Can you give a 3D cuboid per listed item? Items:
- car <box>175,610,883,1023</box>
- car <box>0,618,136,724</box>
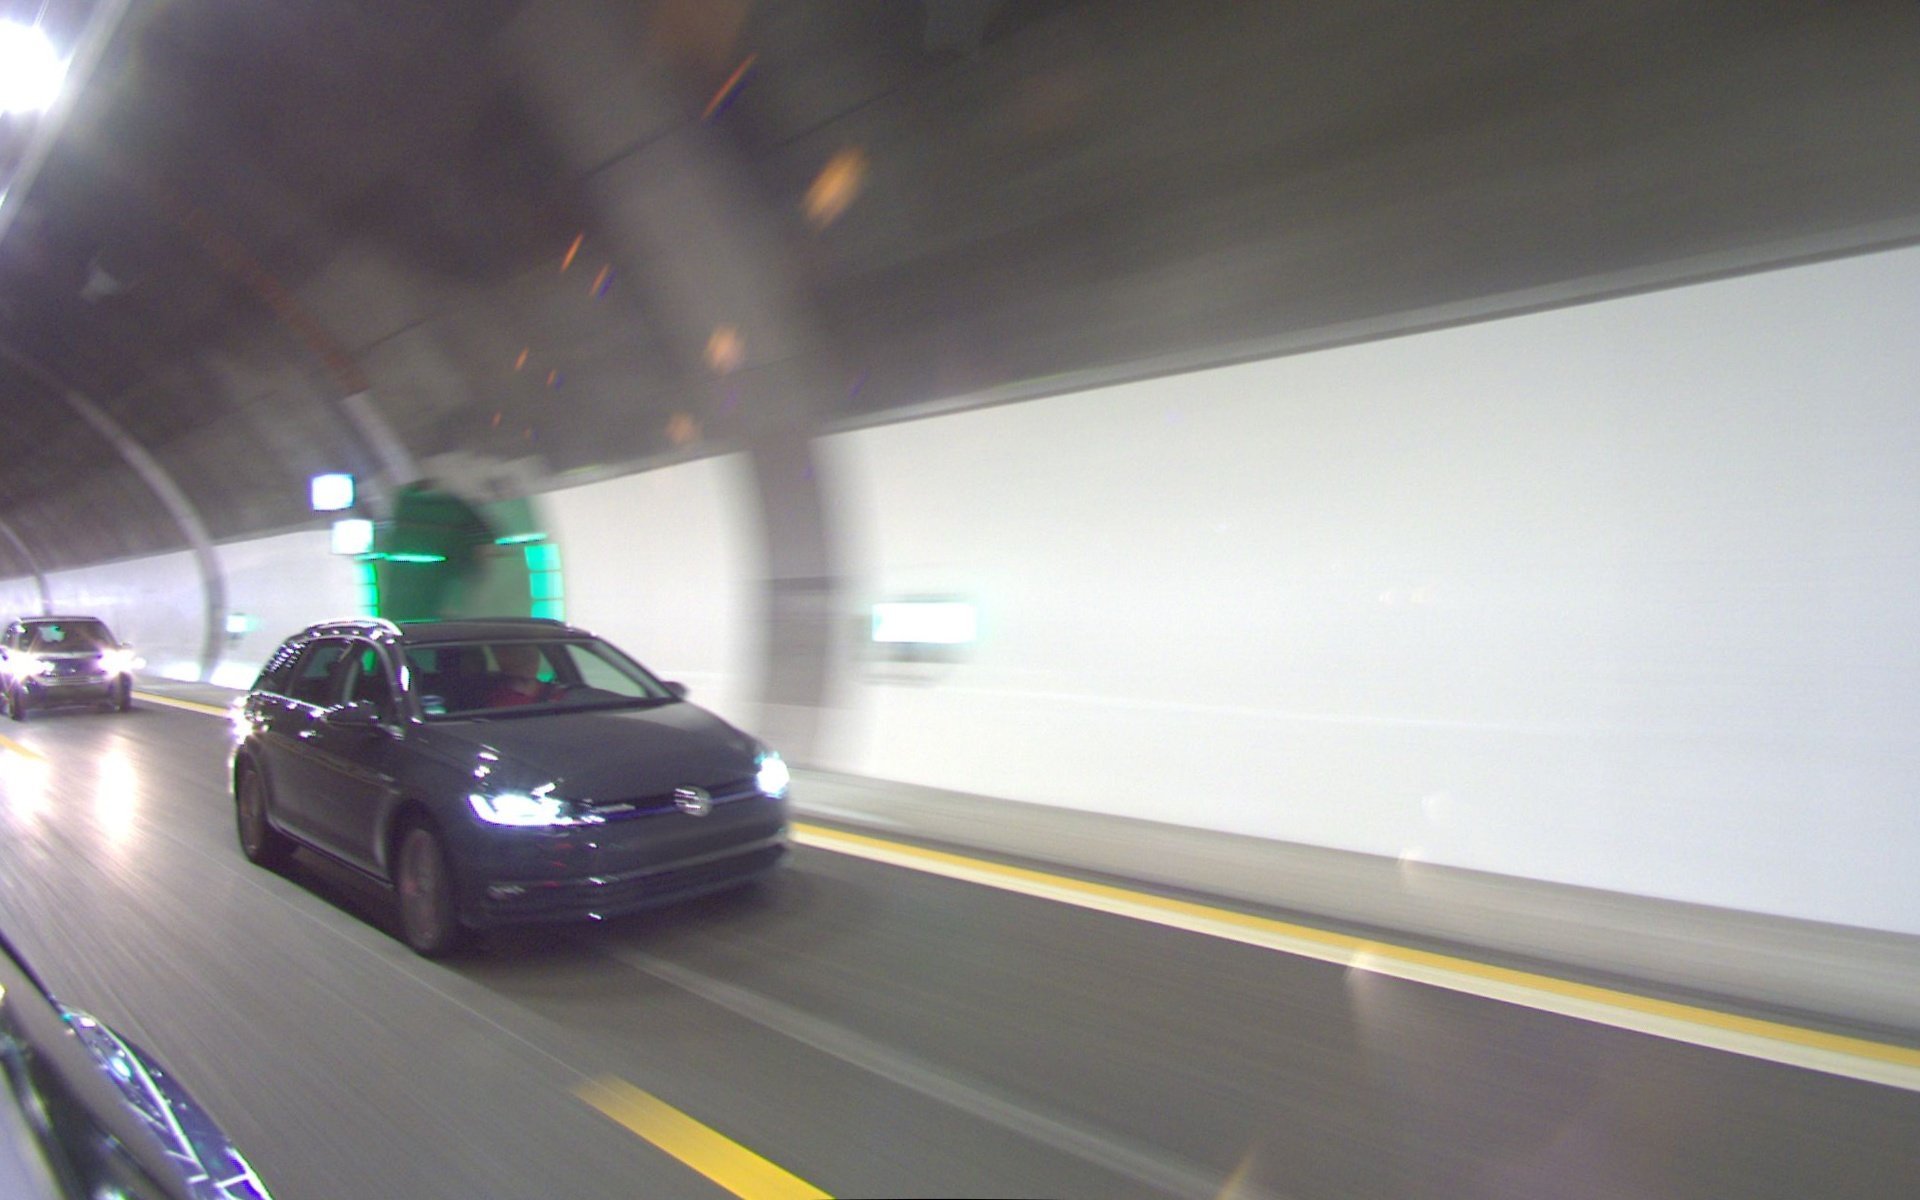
[{"bbox_3d":[-2.808,0.820,5.848,4.879,1.449,1.760,-1,-1,40],"label":"car"},{"bbox_3d":[-14.338,1.061,16.076,2.650,1.528,1.511,-1,-1,41],"label":"car"}]
